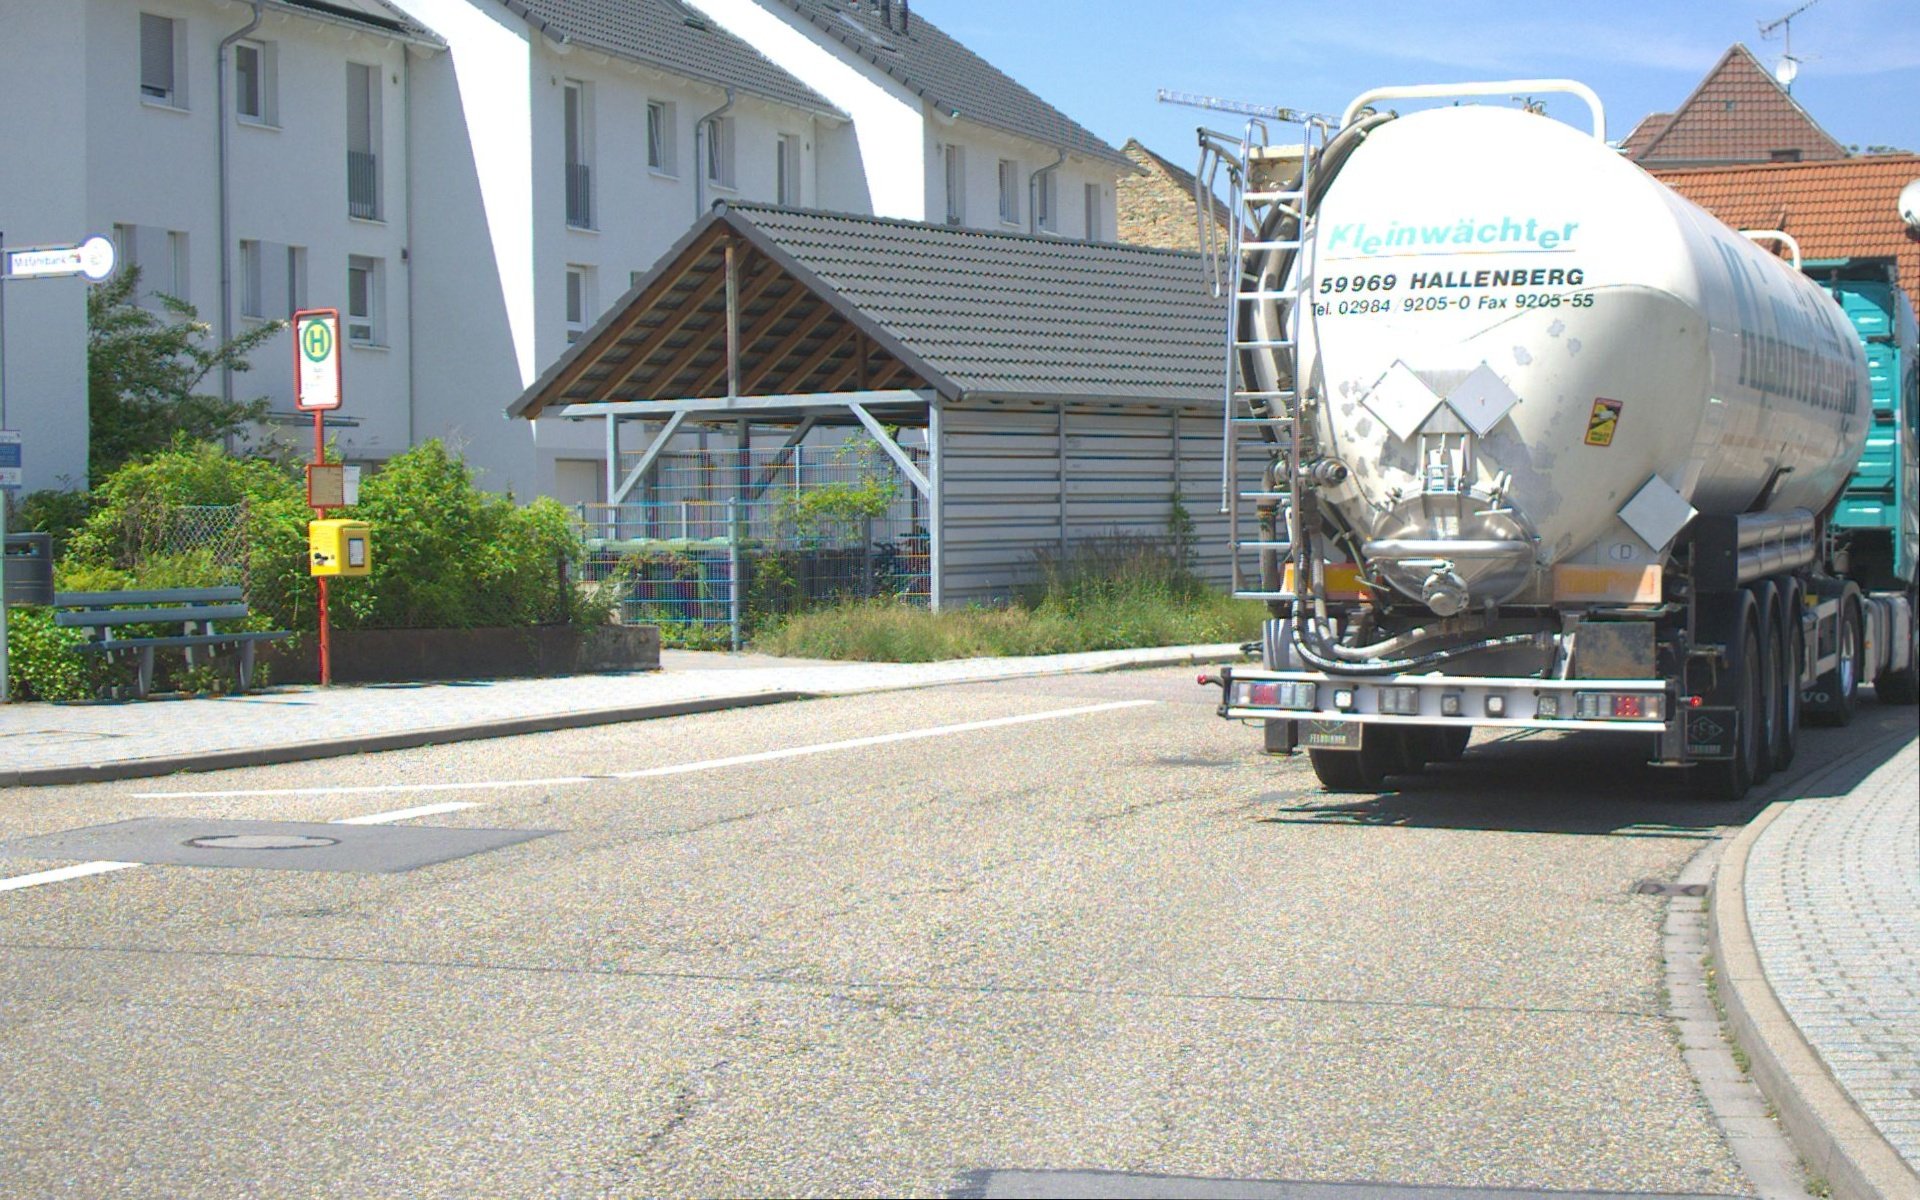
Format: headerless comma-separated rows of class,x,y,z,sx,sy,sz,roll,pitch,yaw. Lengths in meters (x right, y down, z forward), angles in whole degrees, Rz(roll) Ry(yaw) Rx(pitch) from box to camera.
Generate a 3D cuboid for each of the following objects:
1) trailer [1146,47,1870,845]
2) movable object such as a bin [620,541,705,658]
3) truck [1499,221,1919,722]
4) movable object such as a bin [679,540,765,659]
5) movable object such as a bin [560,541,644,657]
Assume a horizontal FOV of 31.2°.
trailer,4.184,-0.876,22.927,2.955,3.934,11.609,0,1,18
movable object such as a bin,-3.288,-0.017,37.997,0.641,1.274,0.693,1,1,32
truck,6.997,-1.128,30.298,2.992,3.951,5.572,1,2,25
movable object such as a bin,-2.597,-0.015,37.546,0.641,1.274,0.693,1,1,32
movable object such as a bin,-3.995,-0.018,38.390,0.641,1.274,0.693,1,1,32
